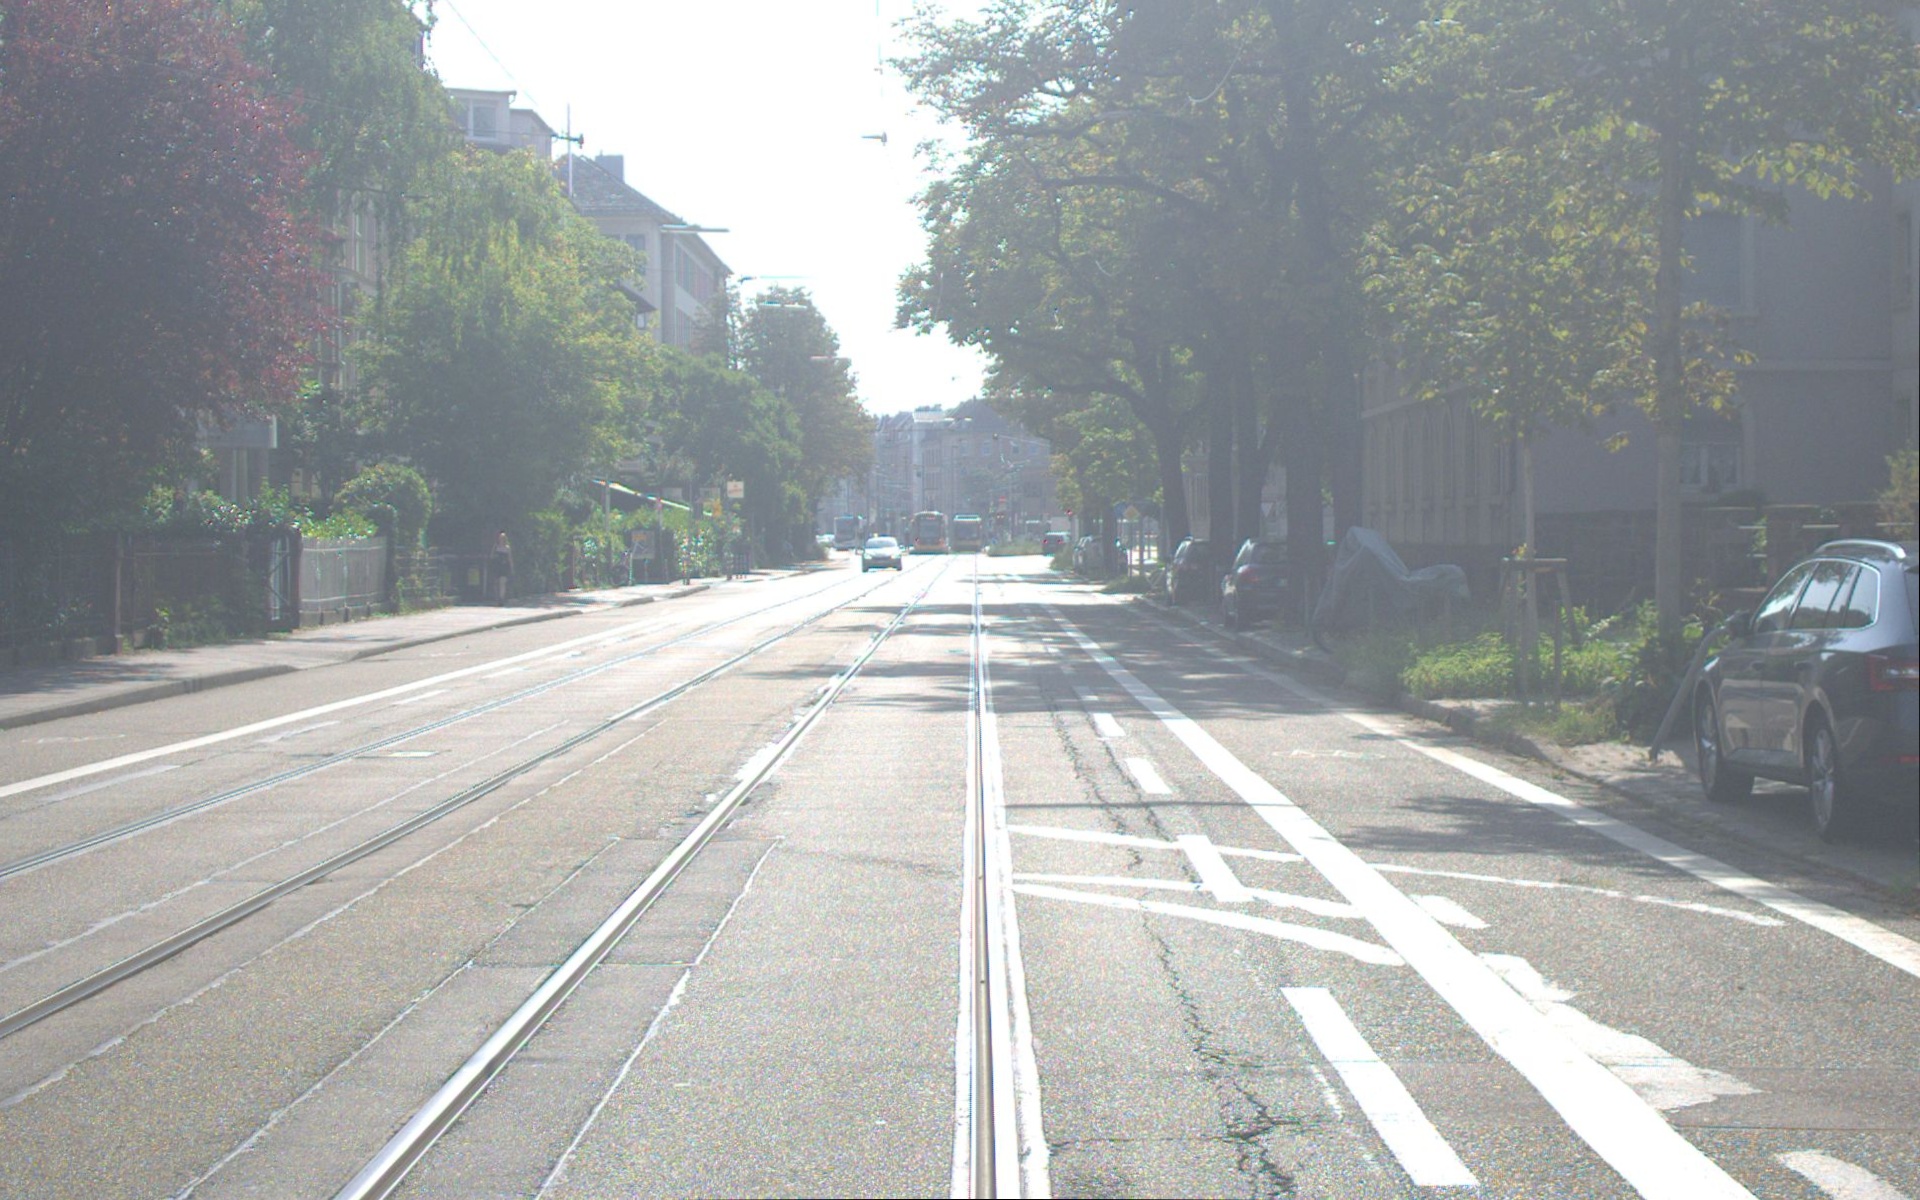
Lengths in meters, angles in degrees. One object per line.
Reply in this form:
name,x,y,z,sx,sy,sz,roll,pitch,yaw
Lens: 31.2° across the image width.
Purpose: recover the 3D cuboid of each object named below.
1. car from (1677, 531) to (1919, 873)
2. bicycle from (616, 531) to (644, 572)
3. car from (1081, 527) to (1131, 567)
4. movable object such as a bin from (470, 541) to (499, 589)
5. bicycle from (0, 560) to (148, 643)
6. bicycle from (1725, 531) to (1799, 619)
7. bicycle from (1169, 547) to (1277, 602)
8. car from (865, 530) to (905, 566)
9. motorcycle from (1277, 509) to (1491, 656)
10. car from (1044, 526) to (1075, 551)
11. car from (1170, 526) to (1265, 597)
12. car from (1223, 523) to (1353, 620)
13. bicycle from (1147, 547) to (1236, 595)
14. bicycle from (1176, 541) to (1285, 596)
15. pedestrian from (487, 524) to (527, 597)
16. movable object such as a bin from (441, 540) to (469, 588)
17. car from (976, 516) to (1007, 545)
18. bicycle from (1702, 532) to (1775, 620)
car,5.108,0.420,18.086,1.743,1.555,4.719,-1,1,1
bicycle,-10.039,-1.482,104.763,0.561,1.217,2.113,0,1,2
car,5.539,-2.007,130.813,1.772,1.468,3.974,-1,0,1
movable object such as a bin,-10.796,-0.797,78.113,0.631,1.074,0.705,0,1,-6
bicycle,-11.875,0.016,45.719,2.015,1.100,0.588,0,1,-2
bicycle,10.432,-0.334,44.755,0.424,1.100,2.000,0,2,-2
bicycle,5.339,-0.516,69.804,2.106,1.101,0.563,0,1,-6
car,-3.434,-2.411,157.526,1.726,1.632,3.985,0,1,0
motorcycle,4.995,-0.207,40.620,0.911,1.668,2.418,-4,2,-45
car,7.445,-4.613,256.448,1.994,1.776,3.999,2,1,5
car,5.471,-0.815,73.468,1.772,1.468,3.974,-1,0,1
car,5.350,-0.484,56.445,1.726,1.499,3.985,-2,1,0
bicycle,5.648,-0.705,83.950,2.106,1.101,0.616,-2,1,0
bicycle,5.448,-0.644,69.283,2.106,1.101,0.563,0,1,-6
pedestrian,-9.991,-0.872,75.846,0.752,1.586,0.878,0,1,1
movable object such as a bin,-11.466,-0.813,78.050,0.589,1.074,0.705,0,1,-6
car,2.269,-5.040,249.824,1.994,2.007,4.000,2,1,4
bicycle,10.130,-0.325,44.784,0.423,1.100,2.000,0,2,-2
